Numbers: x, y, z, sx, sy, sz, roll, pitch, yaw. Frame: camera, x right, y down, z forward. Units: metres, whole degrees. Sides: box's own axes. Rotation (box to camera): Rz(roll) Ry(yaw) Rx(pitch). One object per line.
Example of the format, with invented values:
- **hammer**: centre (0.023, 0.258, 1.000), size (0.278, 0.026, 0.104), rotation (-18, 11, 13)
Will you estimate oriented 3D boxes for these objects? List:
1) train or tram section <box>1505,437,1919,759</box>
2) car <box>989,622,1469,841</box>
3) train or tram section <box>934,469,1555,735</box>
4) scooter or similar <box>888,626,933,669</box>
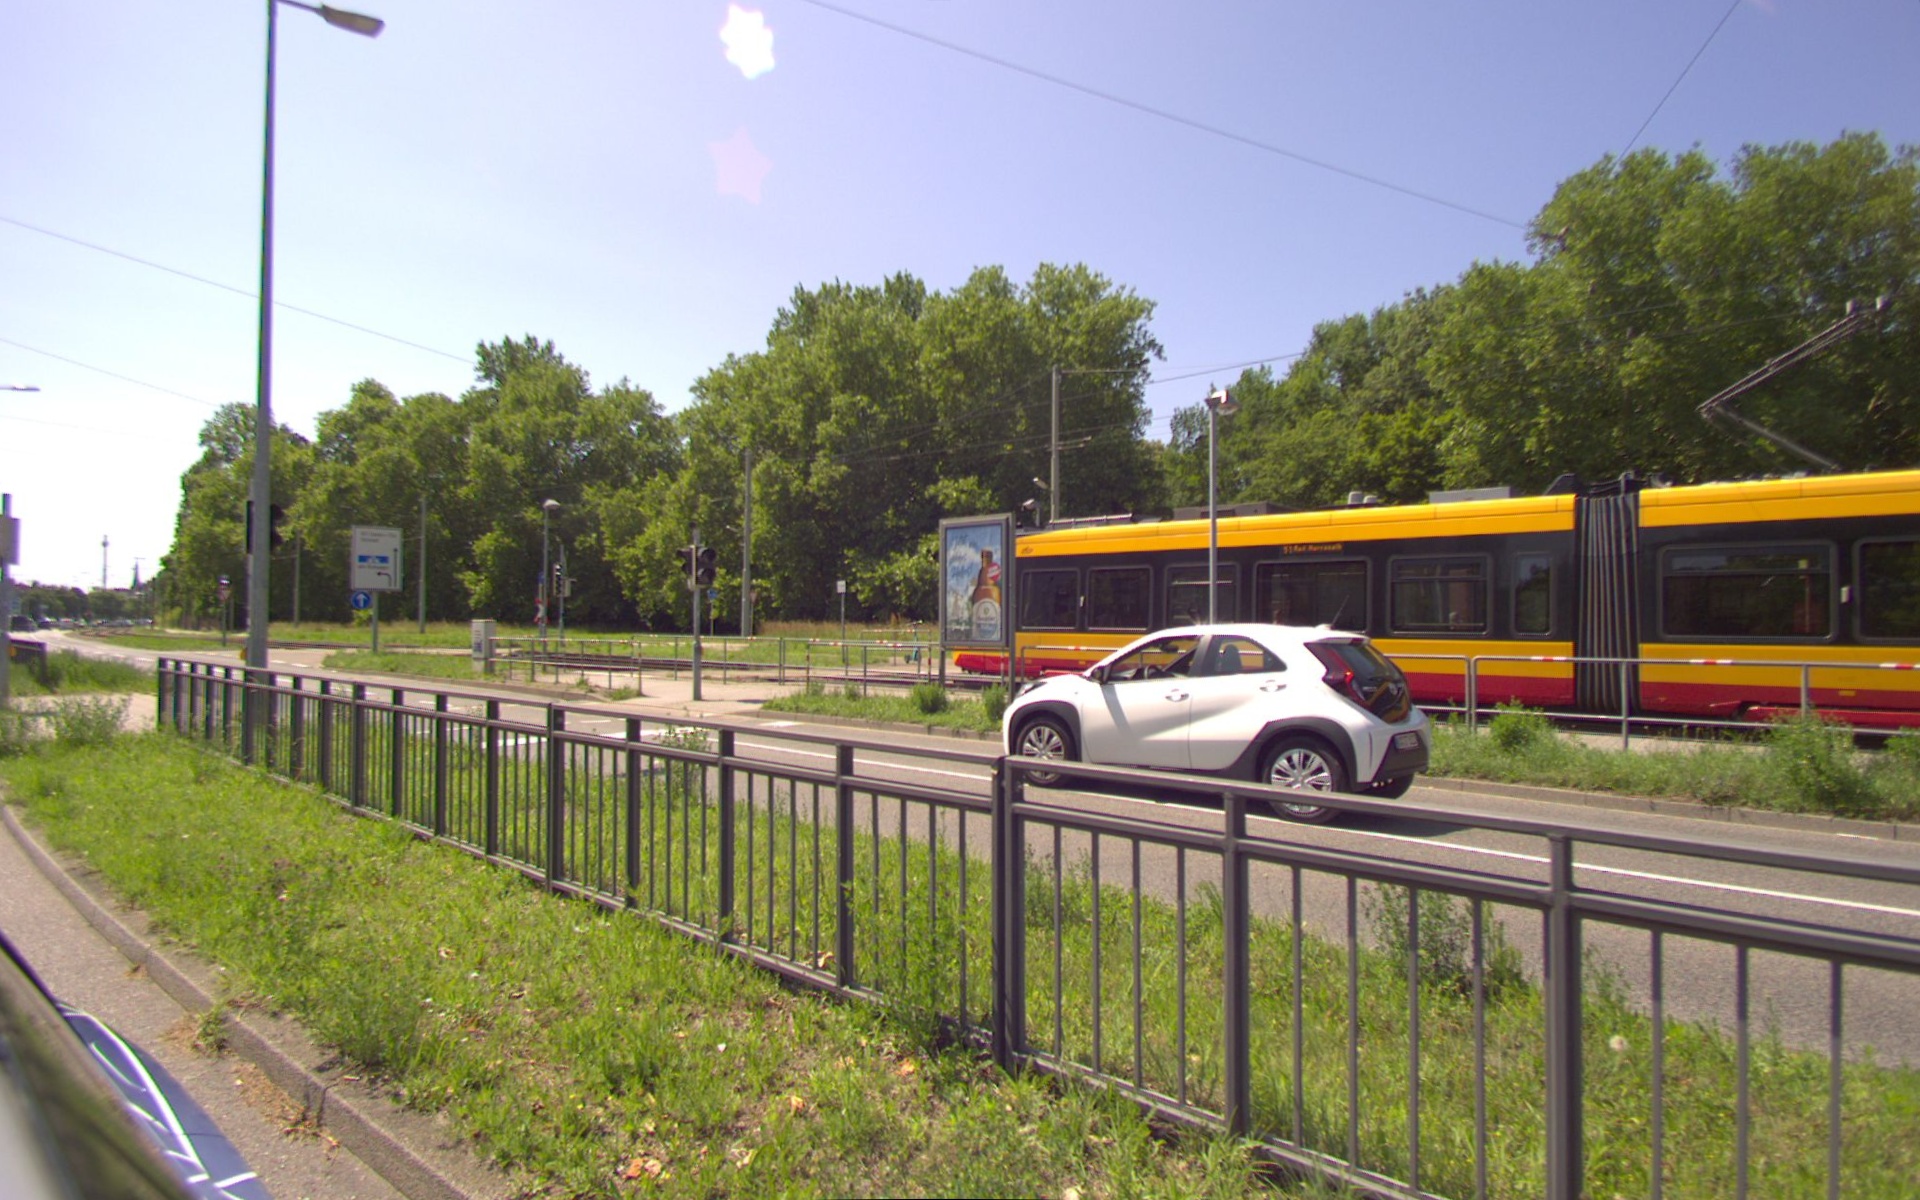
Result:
- **train or tram section**: centre (13.668, -0.072, 11.687), size (12.593, 3.770, 3.011), rotation (-2, -1, 42)
- **car**: centre (2.244, 0.963, 8.946), size (3.717, 1.516, 1.751), rotation (-1, -2, 41)
- **train or tram section**: centre (4.695, 0.132, 19.761), size (11.538, 3.884, 2.918), rotation (-2, -1, 42)
- **scooter or similar**: centre (-1.487, 1.425, 30.373), size (1.100, 1.246, 0.761), rotation (-2, -1, 42)
